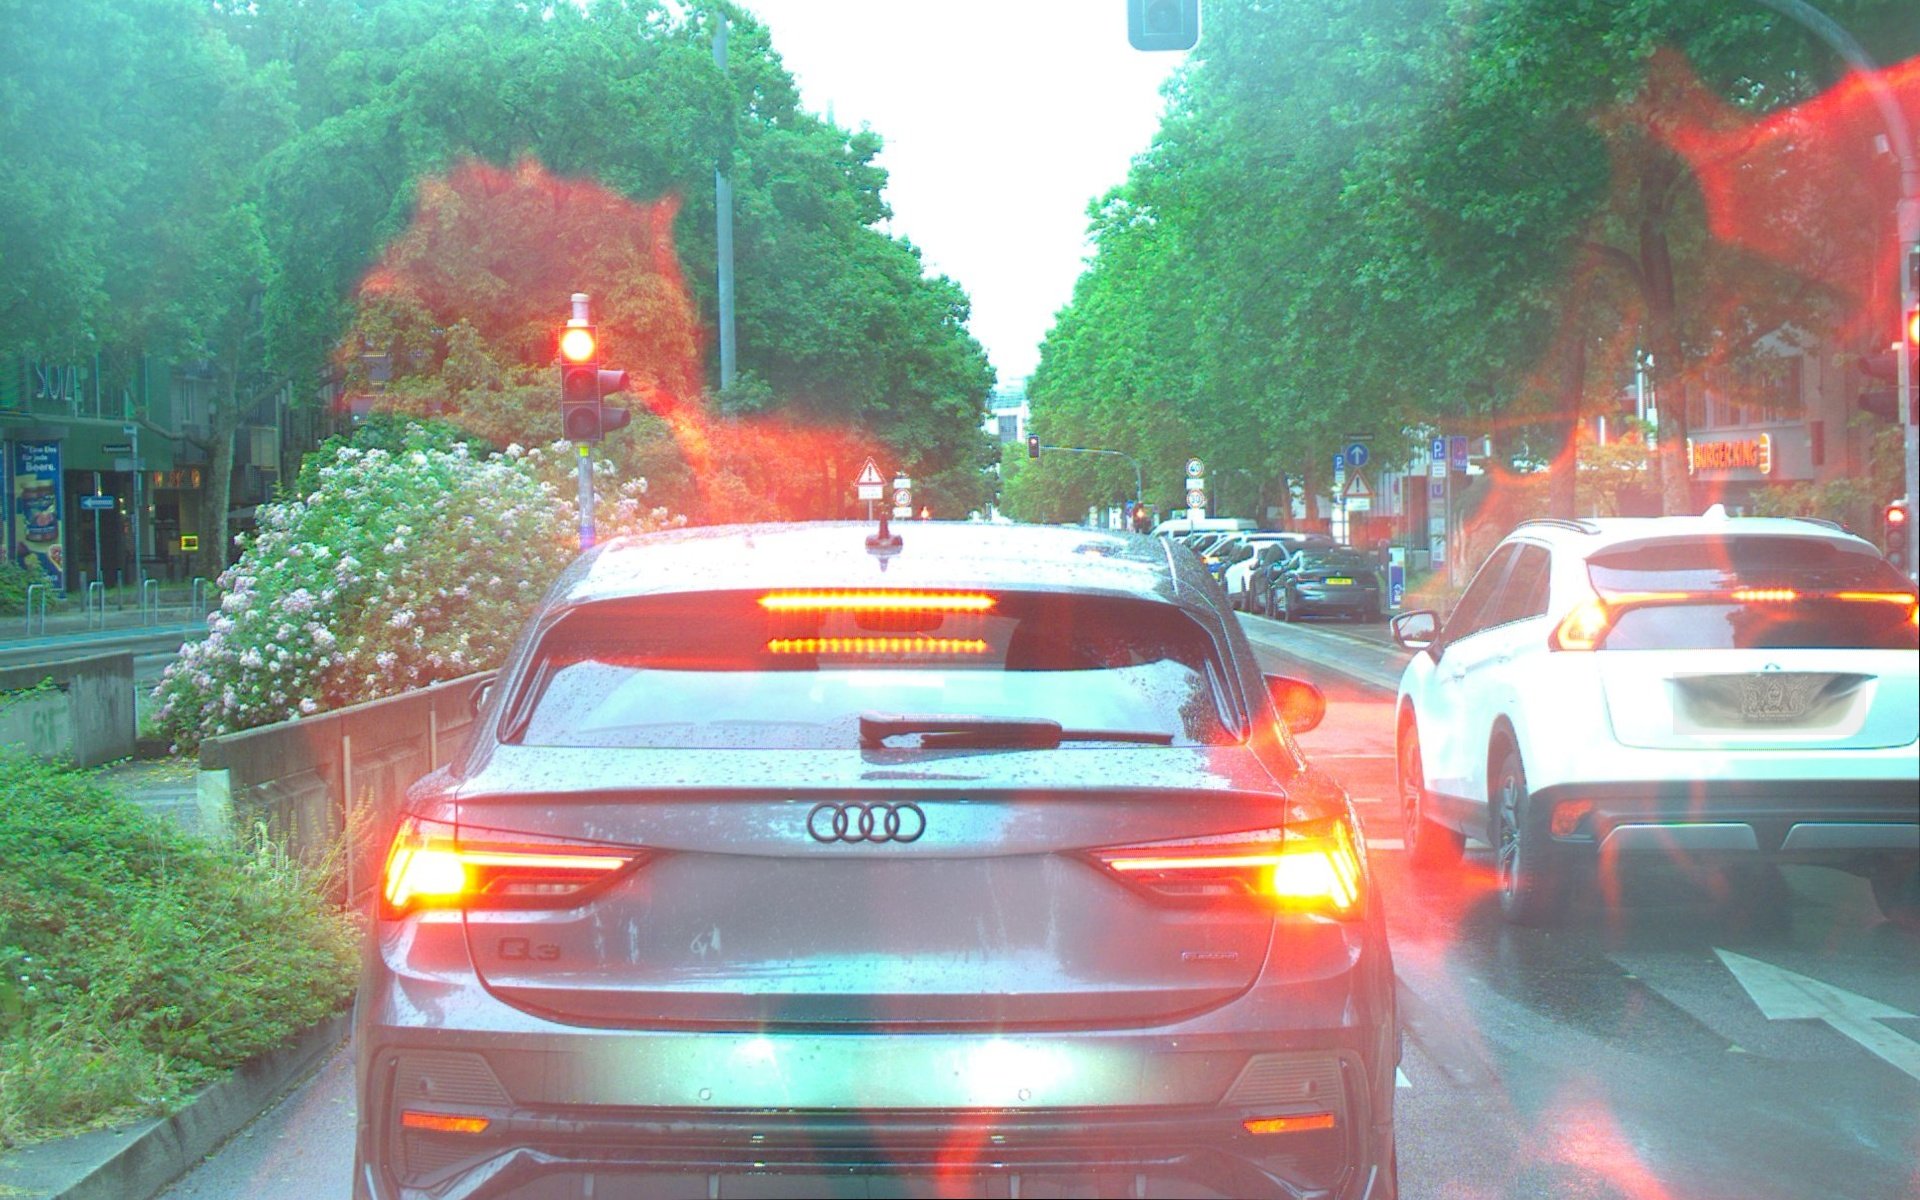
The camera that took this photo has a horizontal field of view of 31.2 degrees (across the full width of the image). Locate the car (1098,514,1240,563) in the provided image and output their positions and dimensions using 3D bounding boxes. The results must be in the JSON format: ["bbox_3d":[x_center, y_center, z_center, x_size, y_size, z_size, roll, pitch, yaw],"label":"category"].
[{"bbox_3d":[7.491,-2.203,123.158,4.646,1.700,1.997,1,0,28],"label":"car"}]

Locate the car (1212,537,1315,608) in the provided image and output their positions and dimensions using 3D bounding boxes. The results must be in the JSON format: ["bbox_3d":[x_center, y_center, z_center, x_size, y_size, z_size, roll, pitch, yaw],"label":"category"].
[{"bbox_3d":[6.980,-0.640,79.403,1.727,1.566,4.074,1,0,-4],"label":"car"}]

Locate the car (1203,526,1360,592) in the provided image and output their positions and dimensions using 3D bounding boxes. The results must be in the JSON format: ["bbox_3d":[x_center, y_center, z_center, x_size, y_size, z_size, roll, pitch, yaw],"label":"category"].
[{"bbox_3d":[10.183,-1.309,108.951,4.602,2.007,1.964,1,0,39],"label":"car"}]

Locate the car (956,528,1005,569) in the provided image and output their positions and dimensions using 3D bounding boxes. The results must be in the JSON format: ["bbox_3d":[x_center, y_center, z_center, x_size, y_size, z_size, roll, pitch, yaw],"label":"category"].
[{"bbox_3d":[0.817,-2.069,138.544,1.896,1.593,3.939,1,0,-1],"label":"car"}]

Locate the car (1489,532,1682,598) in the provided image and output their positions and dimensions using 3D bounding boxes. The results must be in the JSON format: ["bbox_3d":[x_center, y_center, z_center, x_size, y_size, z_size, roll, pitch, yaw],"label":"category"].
[{"bbox_3d":[10.639,-0.597,58.480,2.889,1.071,1.453,1,0,32],"label":"car"}]

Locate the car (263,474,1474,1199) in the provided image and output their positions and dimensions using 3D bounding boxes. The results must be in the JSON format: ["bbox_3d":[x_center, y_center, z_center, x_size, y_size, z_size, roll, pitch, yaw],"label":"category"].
[{"bbox_3d":[-0.164,0.575,7.261,1.849,1.596,4.000,0,1,-1],"label":"car"}]

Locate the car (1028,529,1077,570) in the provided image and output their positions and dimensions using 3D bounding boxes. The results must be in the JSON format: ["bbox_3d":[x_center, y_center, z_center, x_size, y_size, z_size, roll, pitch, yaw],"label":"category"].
[{"bbox_3d":[3.894,-2.119,145.048,1.993,1.645,4.000,1,0,1],"label":"car"}]

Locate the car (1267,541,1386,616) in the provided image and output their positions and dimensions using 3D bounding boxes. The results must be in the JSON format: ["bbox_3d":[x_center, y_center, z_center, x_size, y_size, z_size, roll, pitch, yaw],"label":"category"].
[{"bbox_3d":[7.266,-0.439,68.542,1.873,1.416,4.611,1,1,0],"label":"car"}]

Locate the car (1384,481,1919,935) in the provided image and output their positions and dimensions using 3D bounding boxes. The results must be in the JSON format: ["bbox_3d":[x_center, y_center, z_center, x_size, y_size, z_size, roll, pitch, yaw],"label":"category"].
[{"bbox_3d":[3.037,0.395,14.973,1.878,1.691,4.000,1,0,0],"label":"car"}]

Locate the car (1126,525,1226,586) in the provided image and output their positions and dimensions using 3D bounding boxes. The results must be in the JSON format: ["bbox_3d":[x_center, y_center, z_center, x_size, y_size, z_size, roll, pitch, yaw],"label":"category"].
[{"bbox_3d":[6.281,-1.299,100.462,1.993,1.720,4.001,1,0,-10],"label":"car"}]
